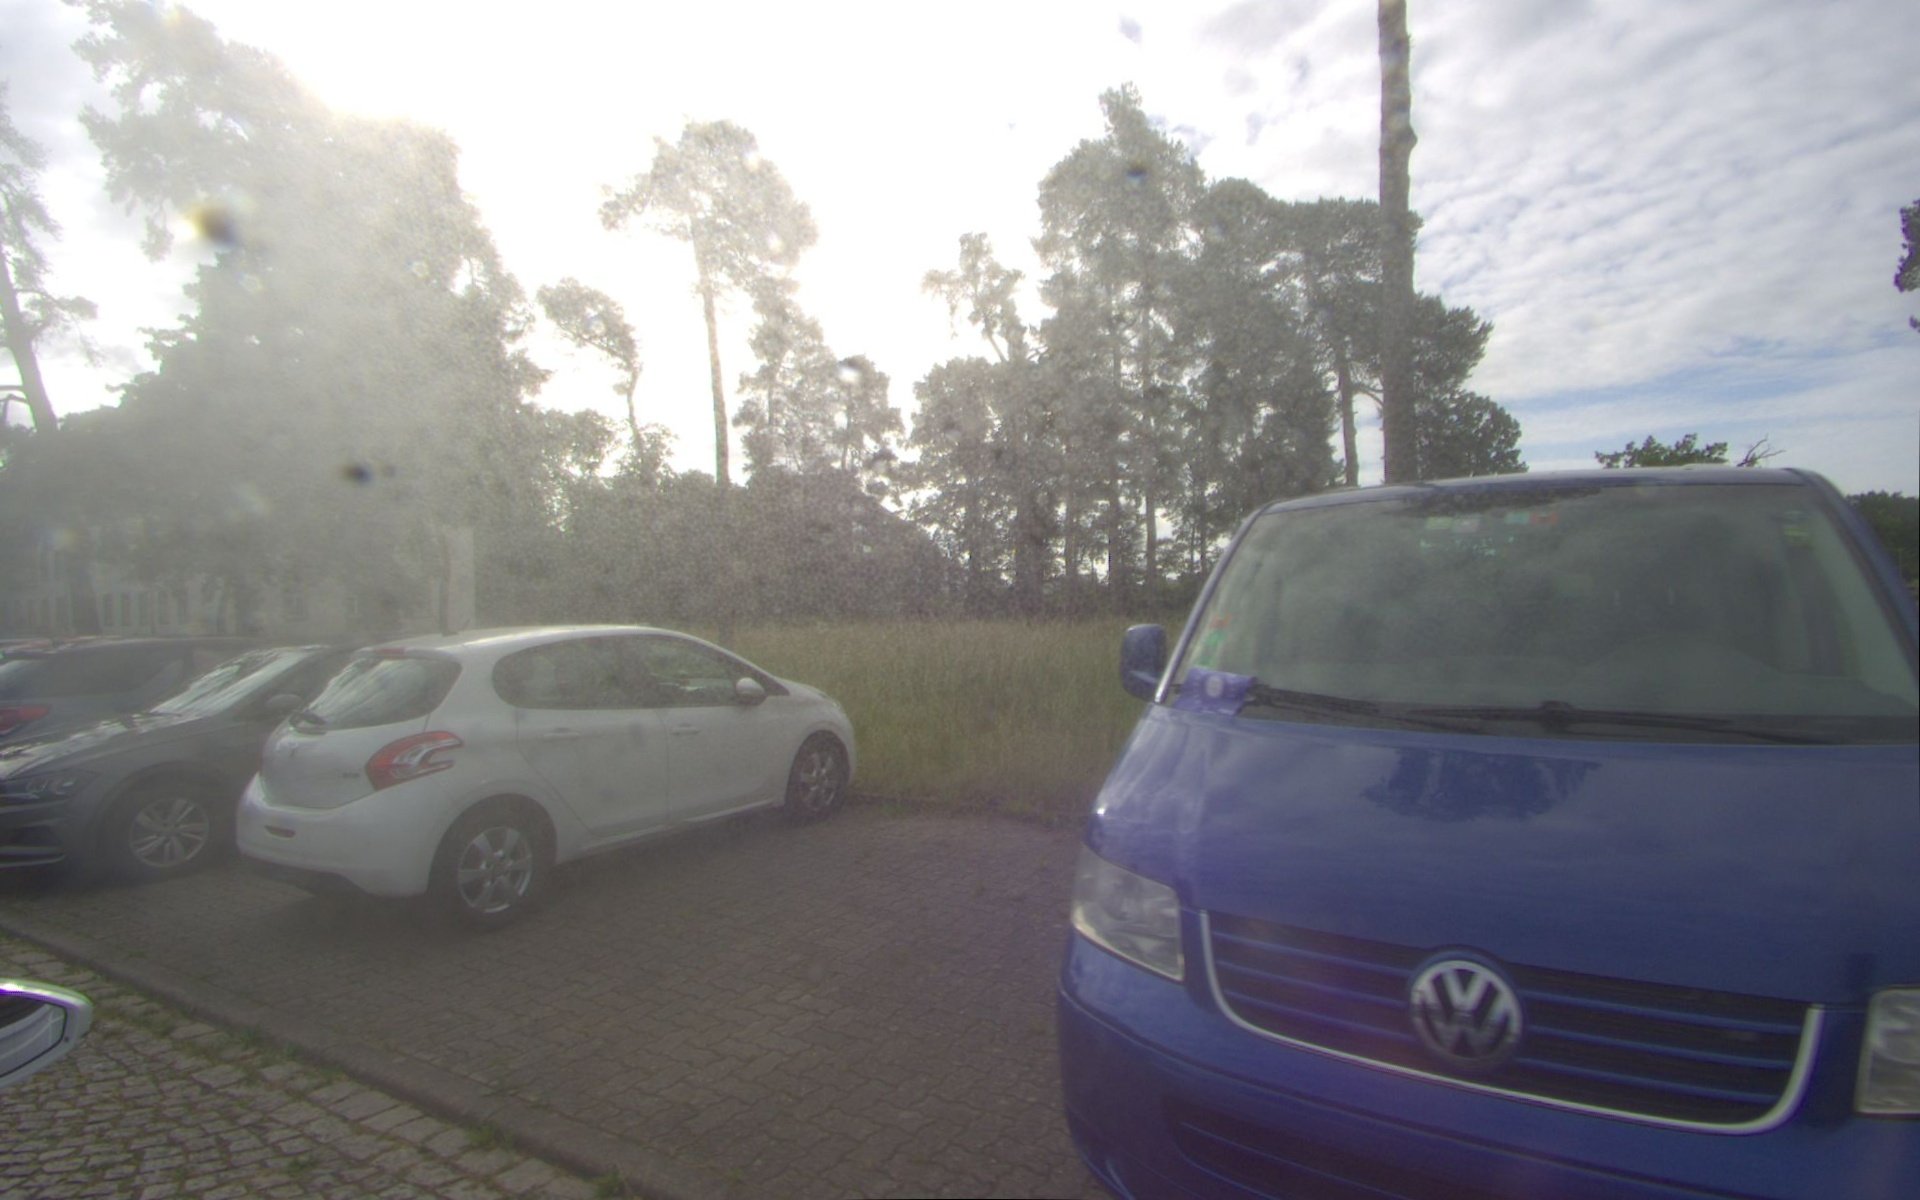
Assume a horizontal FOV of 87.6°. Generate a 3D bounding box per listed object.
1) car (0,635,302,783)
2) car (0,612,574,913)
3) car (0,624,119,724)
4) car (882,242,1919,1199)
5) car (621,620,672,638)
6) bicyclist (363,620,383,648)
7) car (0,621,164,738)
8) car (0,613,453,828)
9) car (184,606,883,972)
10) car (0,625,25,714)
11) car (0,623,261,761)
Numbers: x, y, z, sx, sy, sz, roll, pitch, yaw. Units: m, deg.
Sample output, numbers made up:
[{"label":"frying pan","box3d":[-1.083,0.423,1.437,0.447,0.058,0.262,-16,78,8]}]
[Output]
[{"label":"car","box3d":[-9.490,1.112,10.582,1.732,1.253,3.855,-1,1,30]},{"label":"car","box3d":[-5.078,0.923,7.529,1.731,1.492,3.858,-1,1,27]},{"label":"car","box3d":[-15.644,1.185,14.697,1.843,1.436,4.674,-1,1,29]},{"label":"car","box3d":[1.921,0.525,3.469,1.973,1.972,4.799,-1,1,30]},{"label":"car","box3d":[-26.042,2.438,83.236,1.628,1.439,3.940,-1,-4,34]},{"label":"bicyclist","box3d":[-30.522,1.766,52.076,0.597,1.429,0.746,-1,0,37]},{"label":"car","box3d":[-13.500,1.110,13.124,1.839,1.435,4.423,-1,1,22]},{"label":"car","box3d":[-7.179,0.957,9.526,1.732,1.492,3.855,-1,1,30]},{"label":"car","box3d":[-2.357,0.861,6.505,1.733,1.492,3.853,-1,1,32]},{"label":"car","box3d":[-17.740,1.238,15.898,1.619,1.497,3.917,-1,1,33]},{"label":"car","box3d":[-11.405,1.111,12.271,1.844,1.436,4.253,-1,1,31]}]
